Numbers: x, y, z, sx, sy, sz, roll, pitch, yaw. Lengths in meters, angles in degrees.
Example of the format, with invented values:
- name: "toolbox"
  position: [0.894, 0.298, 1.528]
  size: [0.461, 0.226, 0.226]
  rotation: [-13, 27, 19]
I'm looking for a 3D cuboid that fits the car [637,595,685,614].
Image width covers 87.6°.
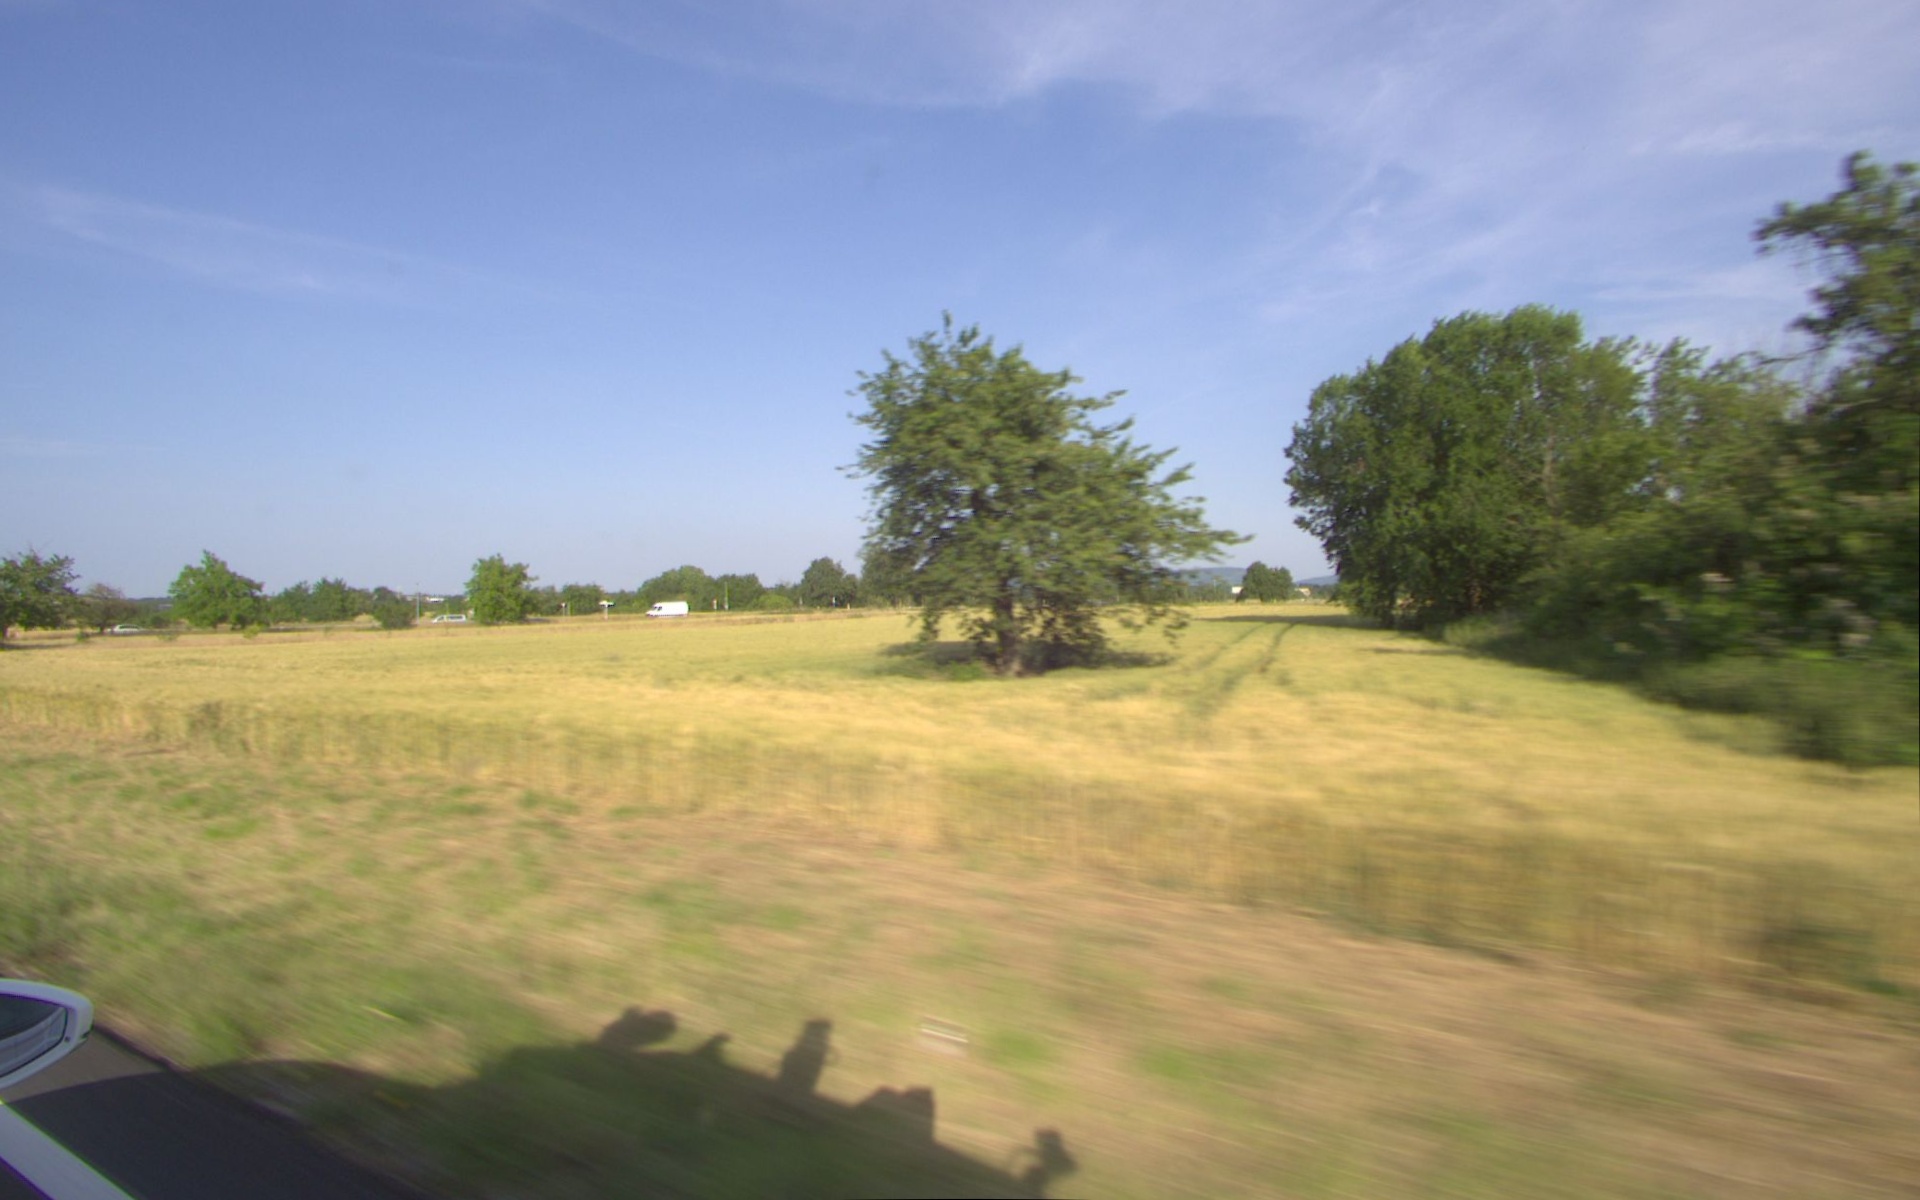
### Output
- name: "car"
  position: [-46.798, 0.746, 156.985]
  size: [2.295, 2.831, 6.978]
  rotation: [-1, -2, 43]
